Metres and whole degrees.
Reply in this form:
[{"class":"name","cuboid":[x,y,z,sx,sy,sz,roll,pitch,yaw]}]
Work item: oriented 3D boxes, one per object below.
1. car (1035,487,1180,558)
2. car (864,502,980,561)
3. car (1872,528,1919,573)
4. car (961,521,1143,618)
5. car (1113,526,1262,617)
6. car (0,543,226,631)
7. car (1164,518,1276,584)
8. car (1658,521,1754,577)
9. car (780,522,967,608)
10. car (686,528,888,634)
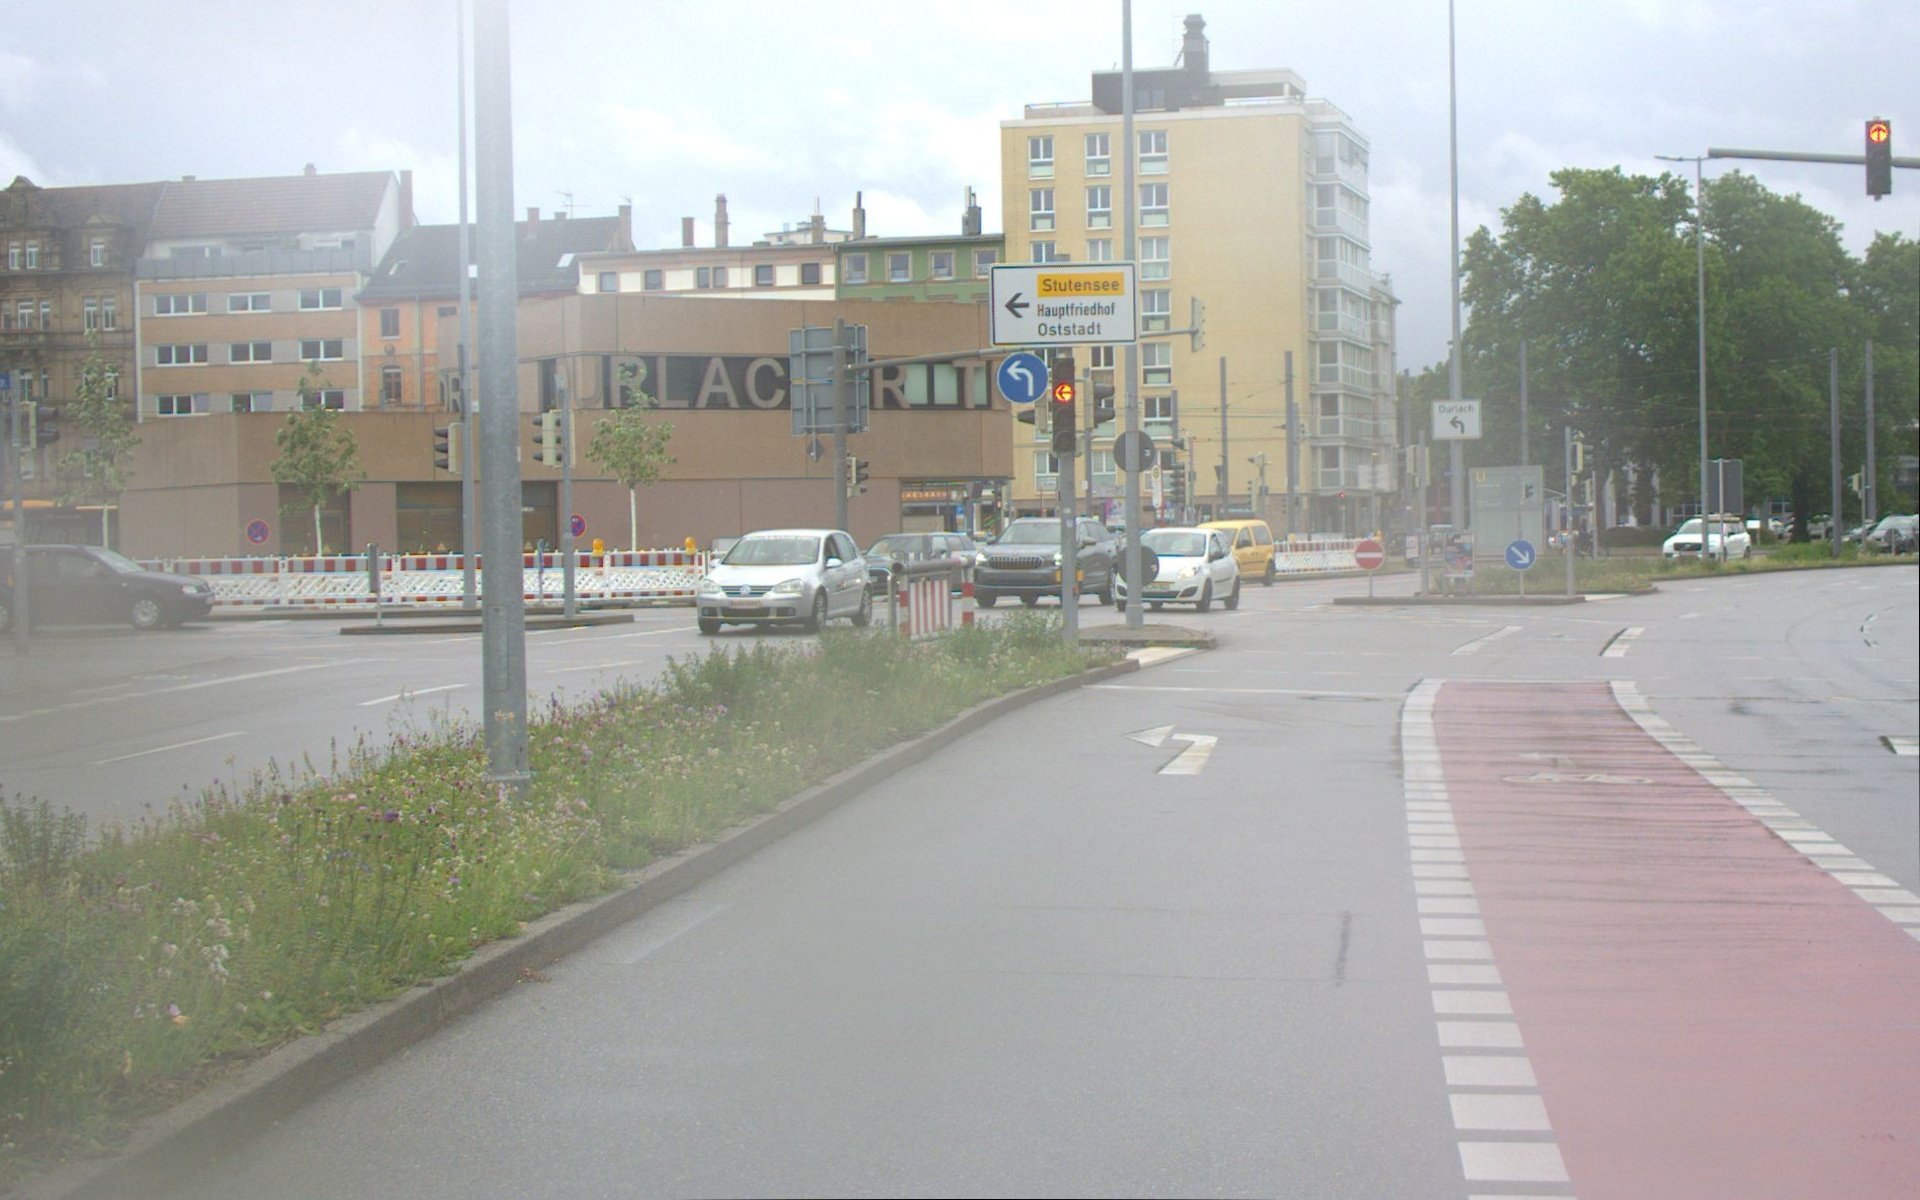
[{"class":"car","cuboid":[7.275,-3.810,169.530,6.745,3.368,2.808,-1,1,12]},{"class":"car","cuboid":[-1.878,-3.422,171.693,5.353,2.877,2.338,-1,1,12]},{"class":"car","cuboid":[39.271,-2.075,143.102,1.696,1.684,4.178,-1,3,27]},{"class":"car","cuboid":[1.755,-0.595,63.707,1.995,1.630,4.599,-2,1,19]},{"class":"car","cuboid":[4.089,-0.531,61.321,1.680,1.496,3.865,-1,1,19]},{"class":"car","cuboid":[-14.471,-0.224,57.003,4.191,1.397,1.618,-1,1,3]},{"class":"car","cuboid":[6.979,-1.325,91.909,1.707,1.700,4.148,0,1,23]},{"class":"car","cuboid":[24.713,-1.712,113.734,1.829,1.676,5.158,-2,1,26]},{"class":"car","cuboid":[-1.752,-0.738,70.734,1.709,1.700,3.811,0,2,41]},{"class":"car","cuboid":[-2.449,-0.296,49.698,1.680,1.399,4.155,-1,1,15]}]
